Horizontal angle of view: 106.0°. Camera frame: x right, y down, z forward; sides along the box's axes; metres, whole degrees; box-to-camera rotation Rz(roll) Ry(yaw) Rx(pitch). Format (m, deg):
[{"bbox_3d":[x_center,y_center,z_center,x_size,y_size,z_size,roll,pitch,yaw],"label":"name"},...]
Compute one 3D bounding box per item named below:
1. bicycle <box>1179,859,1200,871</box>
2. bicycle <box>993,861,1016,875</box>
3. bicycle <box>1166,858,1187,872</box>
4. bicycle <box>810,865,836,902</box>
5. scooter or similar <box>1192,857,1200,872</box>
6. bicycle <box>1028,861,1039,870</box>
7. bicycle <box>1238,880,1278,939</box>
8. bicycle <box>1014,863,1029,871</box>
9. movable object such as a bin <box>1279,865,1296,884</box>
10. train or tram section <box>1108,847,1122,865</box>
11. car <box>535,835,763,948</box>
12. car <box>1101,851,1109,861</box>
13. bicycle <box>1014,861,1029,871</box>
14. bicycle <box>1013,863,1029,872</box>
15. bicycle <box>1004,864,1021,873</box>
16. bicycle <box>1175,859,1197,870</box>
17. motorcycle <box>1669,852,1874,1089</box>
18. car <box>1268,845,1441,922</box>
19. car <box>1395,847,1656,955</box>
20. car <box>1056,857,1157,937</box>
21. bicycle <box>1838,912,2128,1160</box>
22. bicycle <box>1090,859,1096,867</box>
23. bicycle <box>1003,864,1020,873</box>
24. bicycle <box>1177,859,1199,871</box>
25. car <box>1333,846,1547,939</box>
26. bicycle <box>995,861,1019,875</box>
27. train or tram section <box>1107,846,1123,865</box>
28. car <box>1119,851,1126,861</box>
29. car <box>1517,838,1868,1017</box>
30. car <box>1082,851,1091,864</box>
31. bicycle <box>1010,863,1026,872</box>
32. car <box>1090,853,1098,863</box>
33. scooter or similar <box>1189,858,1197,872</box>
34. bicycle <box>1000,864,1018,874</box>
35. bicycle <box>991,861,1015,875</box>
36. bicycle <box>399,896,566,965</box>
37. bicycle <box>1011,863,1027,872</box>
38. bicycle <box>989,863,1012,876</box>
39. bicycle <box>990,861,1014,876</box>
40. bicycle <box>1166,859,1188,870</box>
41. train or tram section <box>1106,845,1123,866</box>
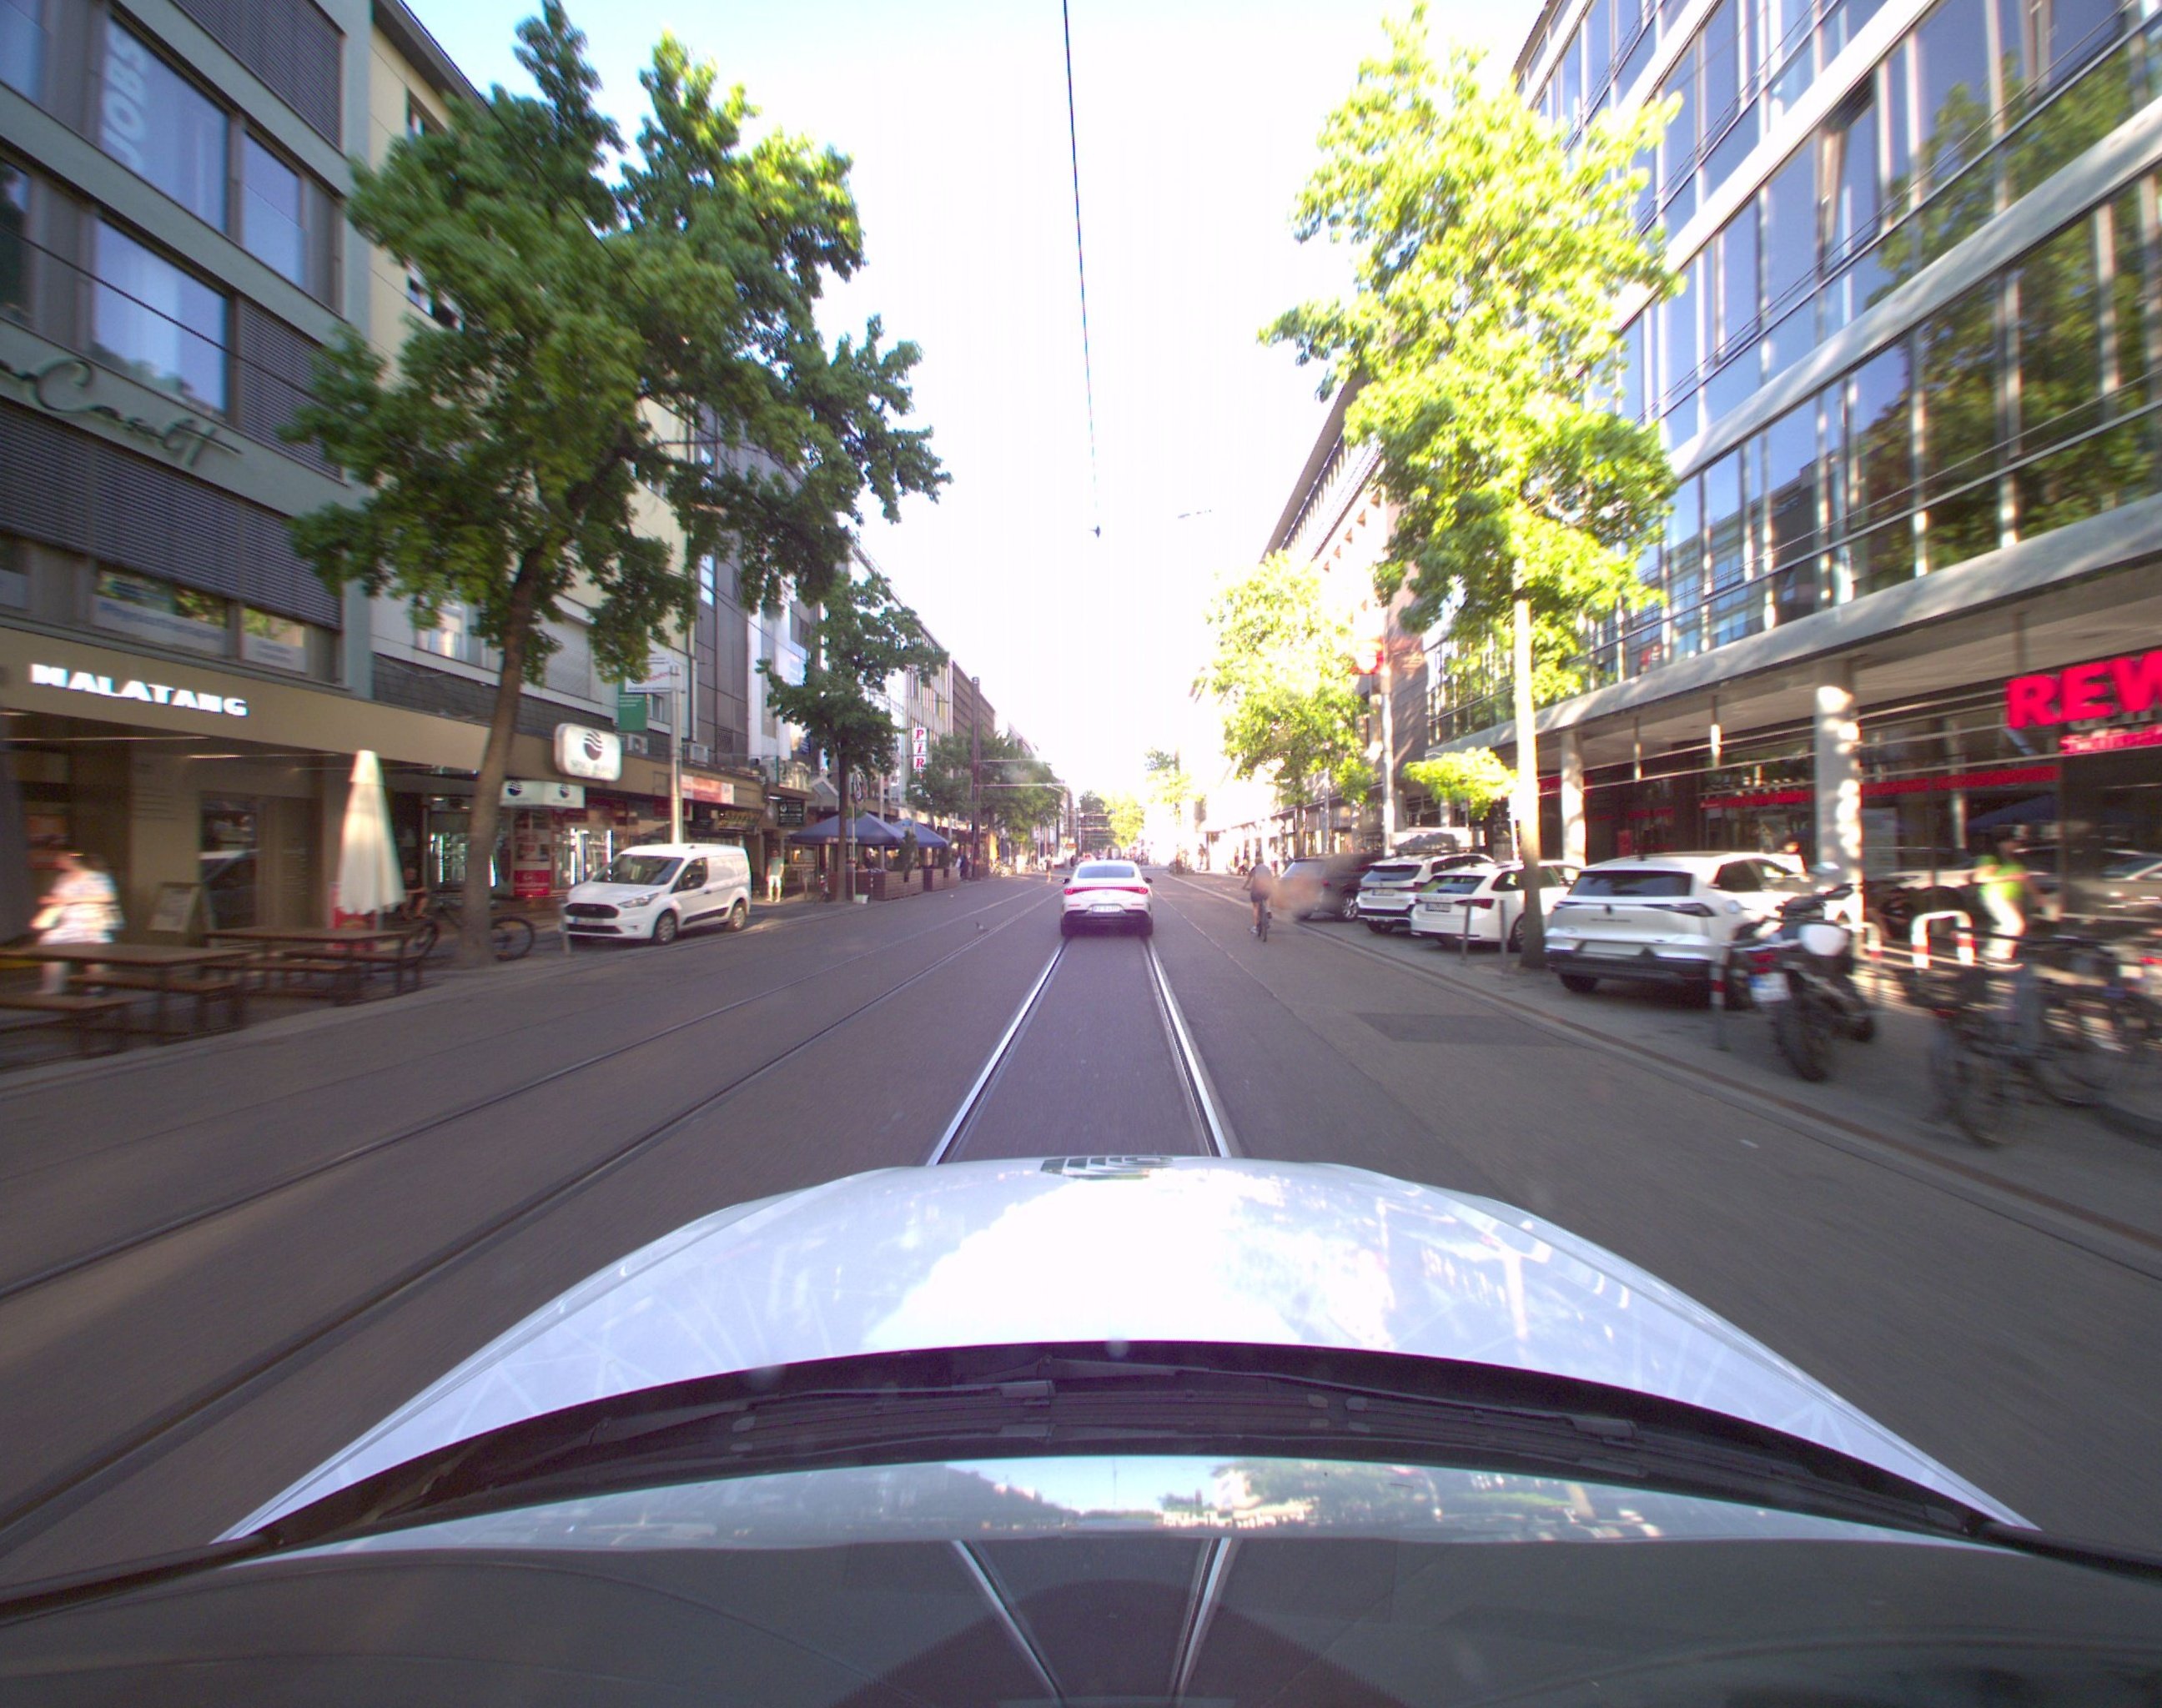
[{"bbox_3d":[10.550,1.057,79.135,1.908,1.156,0.608,-2,-1,-9],"label":"bicycle"},{"bbox_3d":[-6.292,1.167,66.973,1.838,1.141,0.377,1,0,3],"label":"bicycle"},{"bbox_3d":[9.385,1.039,79.983,1.908,1.281,0.608,-2,-1,-9],"label":"bicycle"},{"bbox_3d":[-8.592,0.959,27.202,0.699,1.121,2.076,2,0,-15],"label":"bicycle"},{"bbox_3d":[10.525,0.960,74.463,0.491,1.277,0.658,-2,0,-9],"label":"scooter or similar"},{"bbox_3d":[-5.992,1.451,103.393,0.713,1.010,2.048,-1,0,16],"label":"bicycle"},{"bbox_3d":[3.470,1.049,16.029,0.714,0.995,2.065,1,0,11],"label":"bicycle"},{"bbox_3d":[-5.886,1.319,80.772,1.486,0.783,0.345,1,0,3],"label":"bicycle"},{"bbox_3d":[10.422,1.028,41.173,0.687,0.924,0.718,1,0,3],"label":"movable object such as a bin"},{"bbox_3d":[6.963,0.366,165.113,2.684,3.516,11.150,-1,0,3],"label":"train or tram section"},{"bbox_3d":[-8.224,0.639,16.109,1.788,1.864,4.557,2,0,3],"label":"car"},{"bbox_3d":[7.151,0.633,242.092,2.090,2.897,5.278,-1,0,3],"label":"car"},{"bbox_3d":[-5.971,1.196,81.735,1.491,1.009,0.344,1,0,-8],"label":"bicycle"},{"bbox_3d":[-5.935,1.324,80.404,1.486,0.783,0.345,1,0,3],"label":"bicycle"},{"bbox_3d":[-6.062,1.281,72.092,1.486,0.783,0.345,1,0,3],"label":"bicycle"},{"bbox_3d":[10.865,1.118,84.454,2.113,1.096,0.608,-1,-1,-9],"label":"bicycle"},{"bbox_3d":[5.582,0.792,6.518,2.332,1.510,0.849,-2,-1,-41],"label":"motorcycle"},{"bbox_3d":[7.064,0.708,20.926,4.368,1.652,1.679,-3,0,-29],"label":"car"},{"bbox_3d":[7.716,0.737,14.147,4.162,1.499,1.677,-3,0,-22],"label":"car"},{"bbox_3d":[0.554,0.805,17.180,1.850,1.455,4.177,-1,0,2],"label":"car"},{"bbox_3d":[5.502,0.995,4.949,1.901,1.119,0.661,-3,-1,-27],"label":"bicycle"},{"bbox_3d":[1.740,1.316,120.277,0.797,1.142,2.257,1,0,1],"label":"bicycle"},{"bbox_3d":[-6.095,1.277,71.462,1.486,0.783,0.345,1,0,3],"label":"bicycle"},{"bbox_3d":[10.837,1.119,82.254,2.114,1.096,0.607,-1,-1,-11],"label":"bicycle"},{"bbox_3d":[7.554,0.730,17.086,4.261,1.587,1.867,-3,0,-29],"label":"car"},{"bbox_3d":[-5.828,1.124,64.377,1.841,1.077,0.377,1,0,-2],"label":"bicycle"},{"bbox_3d":[6.427,0.321,153.277,2.684,3.516,12.552,-1,0,3],"label":"train or tram section"},{"bbox_3d":[12.341,0.615,242.238,2.090,2.897,5.288,-1,0,3],"label":"car"},{"bbox_3d":[7.277,0.701,9.608,4.173,1.571,1.836,-3,0,-31],"label":"car"},{"bbox_3d":[1.323,0.877,191.529,1.985,2.897,5.278,-1,0,3],"label":"car"},{"bbox_3d":[-6.140,1.297,78.972,1.486,0.783,0.345,1,0,3],"label":"bicycle"},{"bbox_3d":[3.314,0.933,210.133,1.902,2.461,5.278,-1,0,3],"label":"car"},{"bbox_3d":[10.332,0.983,75.129,0.527,1.277,0.658,-2,0,-9],"label":"scooter or similar"},{"bbox_3d":[-6.276,1.265,70.791,1.486,0.841,0.345,1,0,3],"label":"bicycle"},{"bbox_3d":[-6.055,1.101,63.158,1.784,1.077,0.377,1,0,-2],"label":"bicycle"},{"bbox_3d":[-8.988,1.108,12.285,0.826,0.865,1.872,2,0,41],"label":"bicycle"},{"bbox_3d":[-6.074,1.323,80.045,1.486,0.783,0.345,1,0,3],"label":"bicycle"},{"bbox_3d":[-5.914,1.149,59.936,1.586,0.930,0.378,1,0,9],"label":"bicycle"},{"bbox_3d":[-6.106,1.111,62.669,1.784,1.077,0.377,1,0,-2],"label":"bicycle"},{"bbox_3d":[9.759,1.090,82.959,2.113,1.096,0.608,0,-1,-9],"label":"bicycle"},{"bbox_3d":[5.852,0.279,140.729,2.684,3.516,12.552,-1,0,3],"label":"train or tram section"}]
